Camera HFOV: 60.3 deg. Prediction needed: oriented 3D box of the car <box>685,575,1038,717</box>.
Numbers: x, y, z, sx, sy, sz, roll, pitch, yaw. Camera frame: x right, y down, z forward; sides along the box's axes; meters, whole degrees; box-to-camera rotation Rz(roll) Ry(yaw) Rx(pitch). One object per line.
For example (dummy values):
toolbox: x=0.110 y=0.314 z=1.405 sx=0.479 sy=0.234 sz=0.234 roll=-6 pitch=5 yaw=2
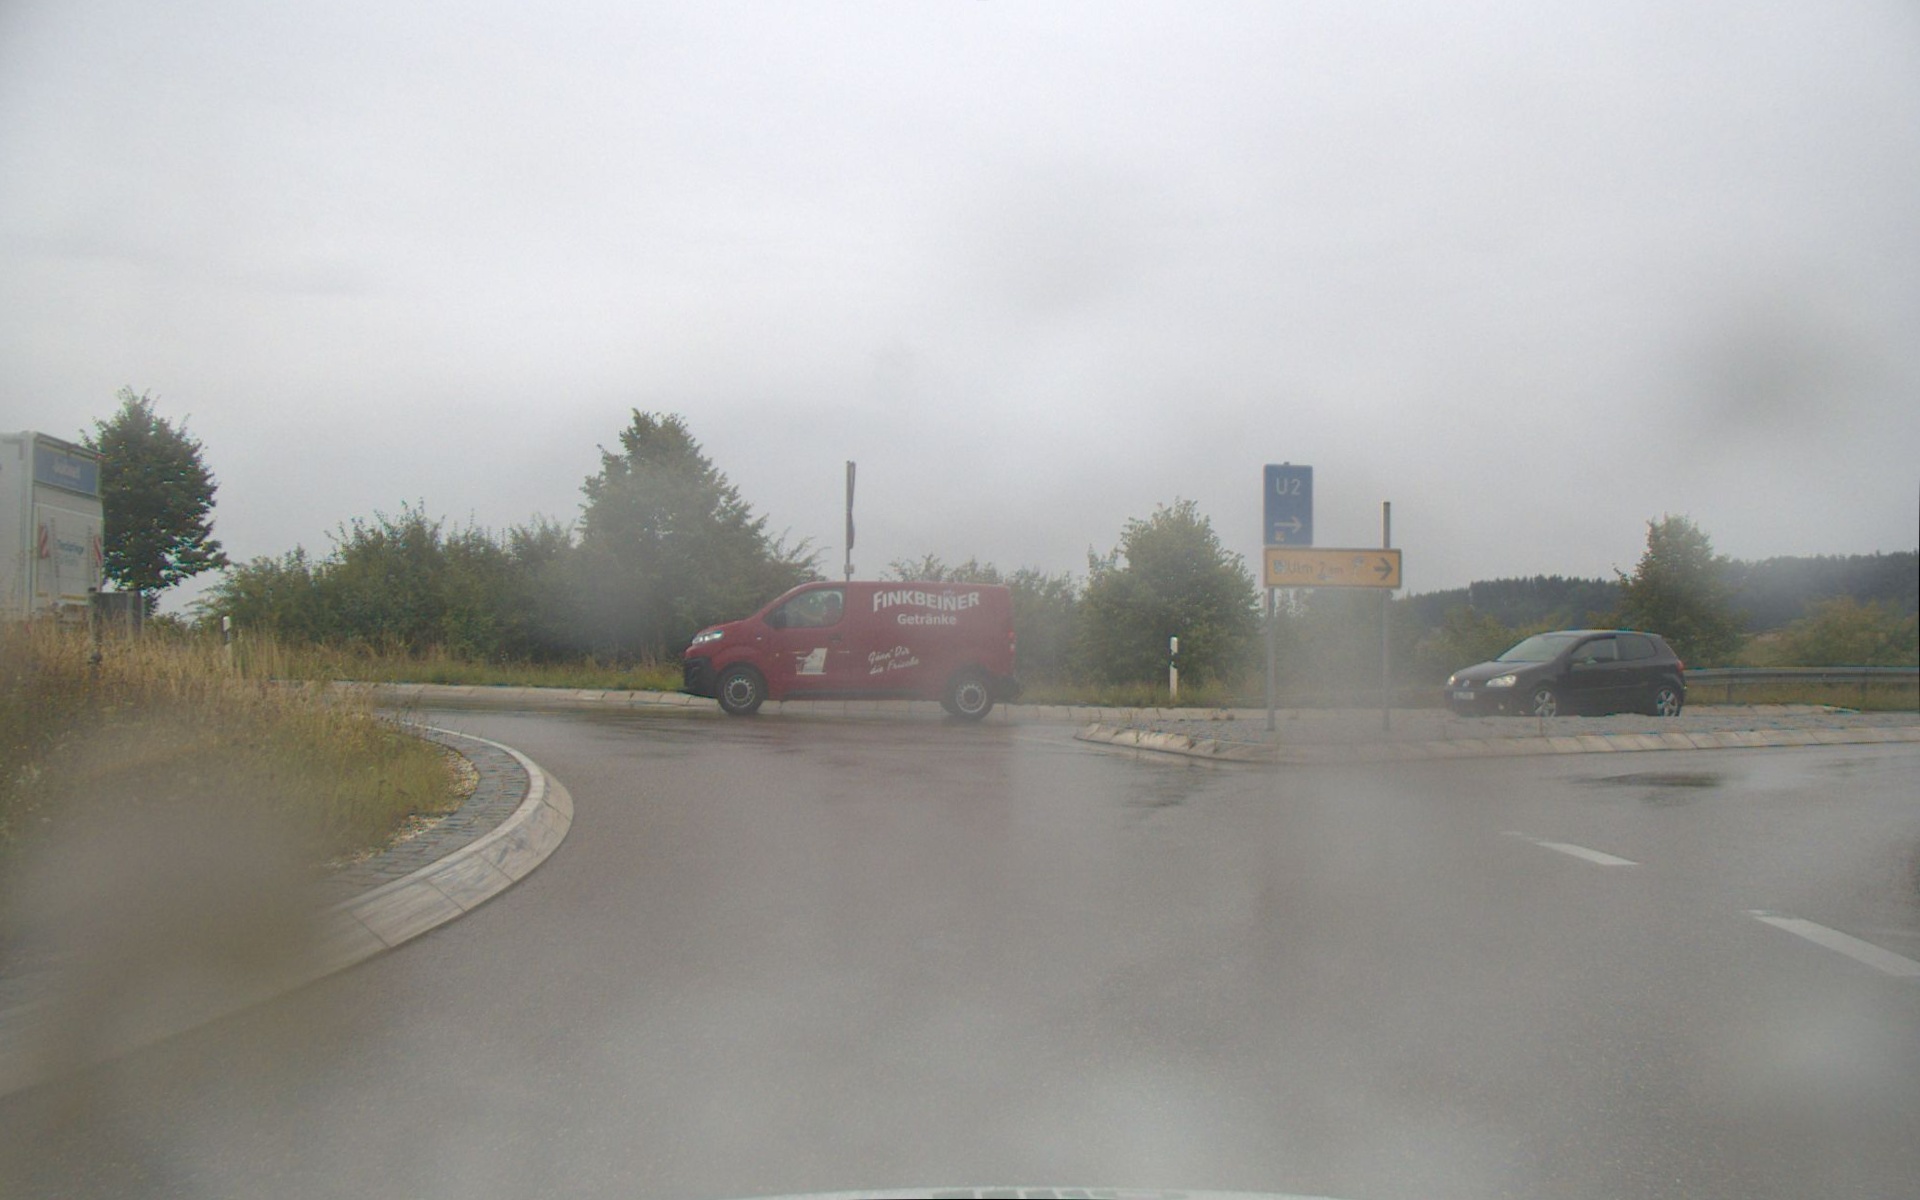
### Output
car: x=-1.452 y=0.661 z=23.922 sx=4.869 sy=1.903 sz=1.996 roll=1 pitch=-1 yaw=-8

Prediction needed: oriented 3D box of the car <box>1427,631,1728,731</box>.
car: x=9.861 y=1.296 z=26.419 sx=4.426 sy=1.446 sz=1.862 roll=2 pitch=-1 yaw=-22

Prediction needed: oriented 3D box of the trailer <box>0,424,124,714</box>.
trailer: x=-17.199 y=-0.430 z=22.939 sx=9.502 sy=3.886 sz=2.836 roll=0 pitch=-1 yaw=-9
